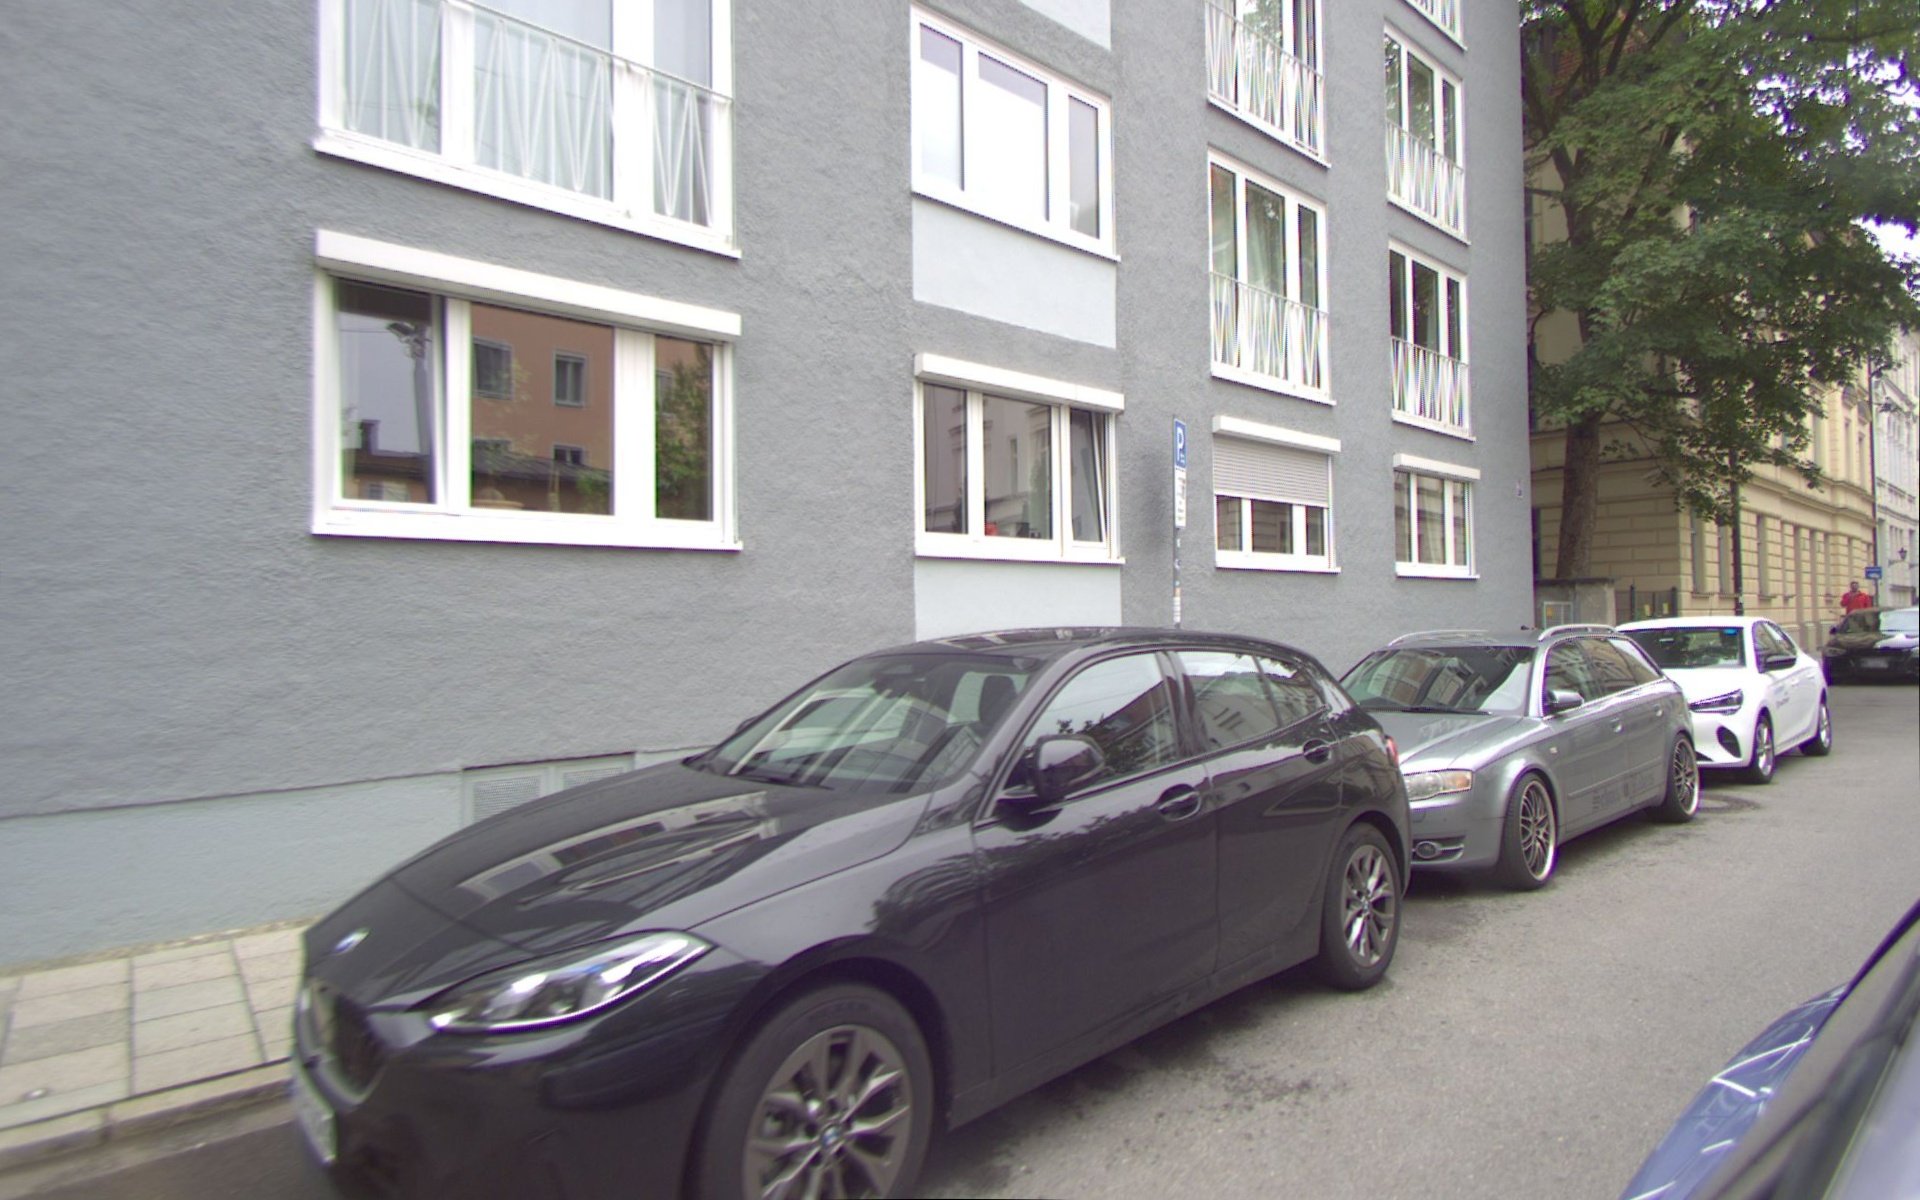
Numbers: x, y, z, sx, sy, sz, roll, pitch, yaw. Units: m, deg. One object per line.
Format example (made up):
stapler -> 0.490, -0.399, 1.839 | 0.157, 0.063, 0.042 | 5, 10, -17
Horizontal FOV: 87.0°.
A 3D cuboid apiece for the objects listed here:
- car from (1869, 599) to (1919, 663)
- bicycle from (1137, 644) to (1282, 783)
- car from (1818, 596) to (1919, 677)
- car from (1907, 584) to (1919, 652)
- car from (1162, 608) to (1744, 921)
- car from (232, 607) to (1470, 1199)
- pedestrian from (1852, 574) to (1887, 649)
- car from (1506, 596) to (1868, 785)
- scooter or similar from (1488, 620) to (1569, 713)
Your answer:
car -> 22.203, 0.649, 22.731 | 4.511, 1.330, 1.997 | 0, -1, -40
bicycle -> 2.324, 0.995, 9.329 | 1.656, 1.124, 0.378 | 0, -1, -40
car -> 18.205, 0.641, 19.522 | 4.433, 1.392, 1.857 | -1, -3, -42
car -> 26.189, 0.418, 26.104 | 4.430, 1.708, 1.997 | 0, -1, -40
car -> 3.542, 0.859, 6.886 | 4.405, 1.420, 1.792 | -1, -5, -39
car -> 0.017, 0.841, 3.706 | 4.191, 1.447, 1.842 | 0, -5, -42
pedestrian -> 24.505, 0.311, 27.272 | 0.447, 2.003, 0.580 | 0, -2, -40
car -> 7.330, 0.785, 10.053 | 4.266, 1.465, 1.771 | -1, -5, -39
scooter or similar -> 7.911, 0.899, 14.067 | 1.351, 1.189, 0.506 | -1, 0, -39
